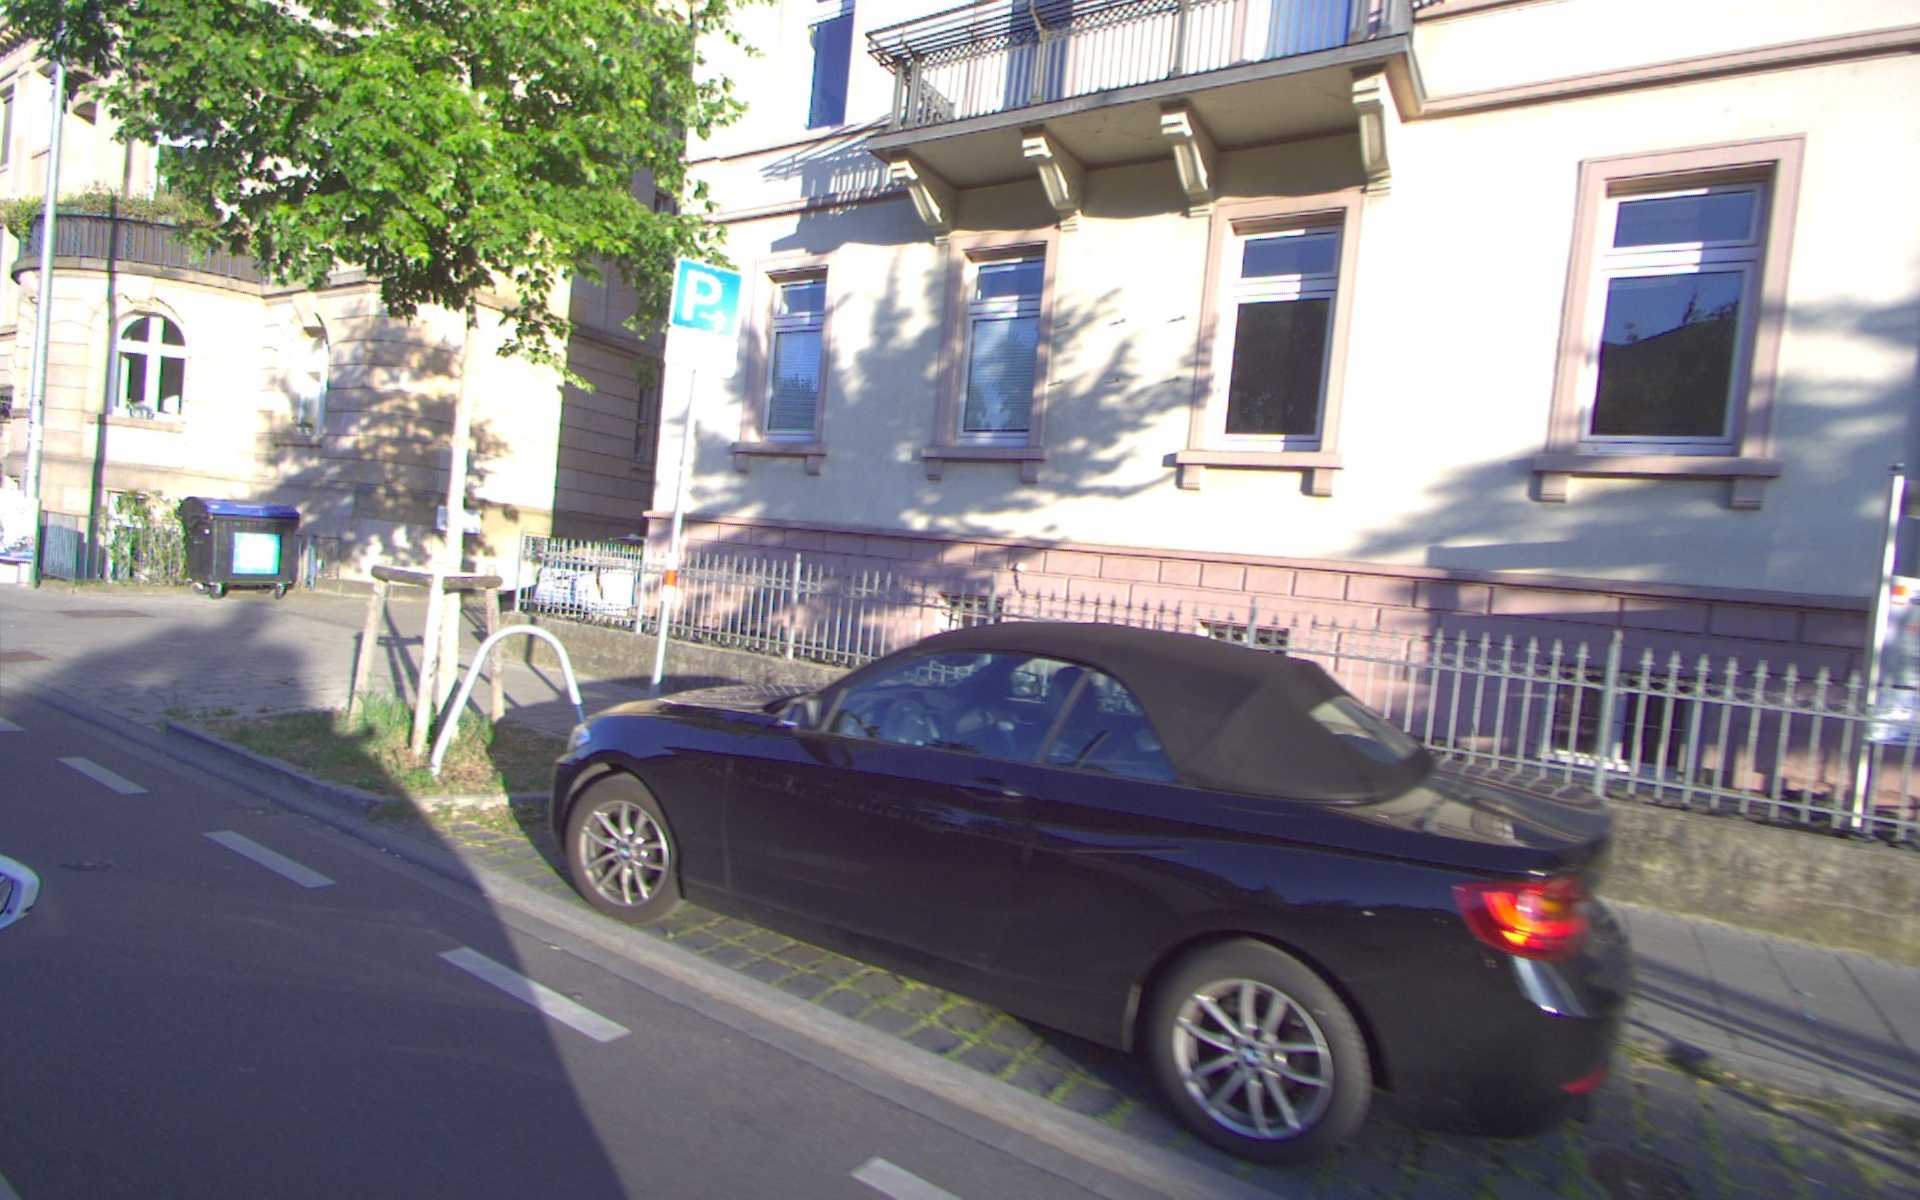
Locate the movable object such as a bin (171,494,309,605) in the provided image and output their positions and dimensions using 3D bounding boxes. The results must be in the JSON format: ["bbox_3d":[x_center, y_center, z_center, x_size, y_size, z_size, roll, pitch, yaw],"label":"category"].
[{"bbox_3d":[-10.888,-0.742,15.232,1.104,1.481,1.261,7,1,29],"label":"movable object such as a bin"}]

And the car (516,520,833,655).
[{"bbox_3d":[-4.041,-0.127,14.881,1.886,1.592,4.192,7,2,34],"label":"car"}]

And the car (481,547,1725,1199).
[{"bbox_3d":[0.218,0.726,4.192,4.369,1.492,1.792,7,4,29],"label":"car"}]
